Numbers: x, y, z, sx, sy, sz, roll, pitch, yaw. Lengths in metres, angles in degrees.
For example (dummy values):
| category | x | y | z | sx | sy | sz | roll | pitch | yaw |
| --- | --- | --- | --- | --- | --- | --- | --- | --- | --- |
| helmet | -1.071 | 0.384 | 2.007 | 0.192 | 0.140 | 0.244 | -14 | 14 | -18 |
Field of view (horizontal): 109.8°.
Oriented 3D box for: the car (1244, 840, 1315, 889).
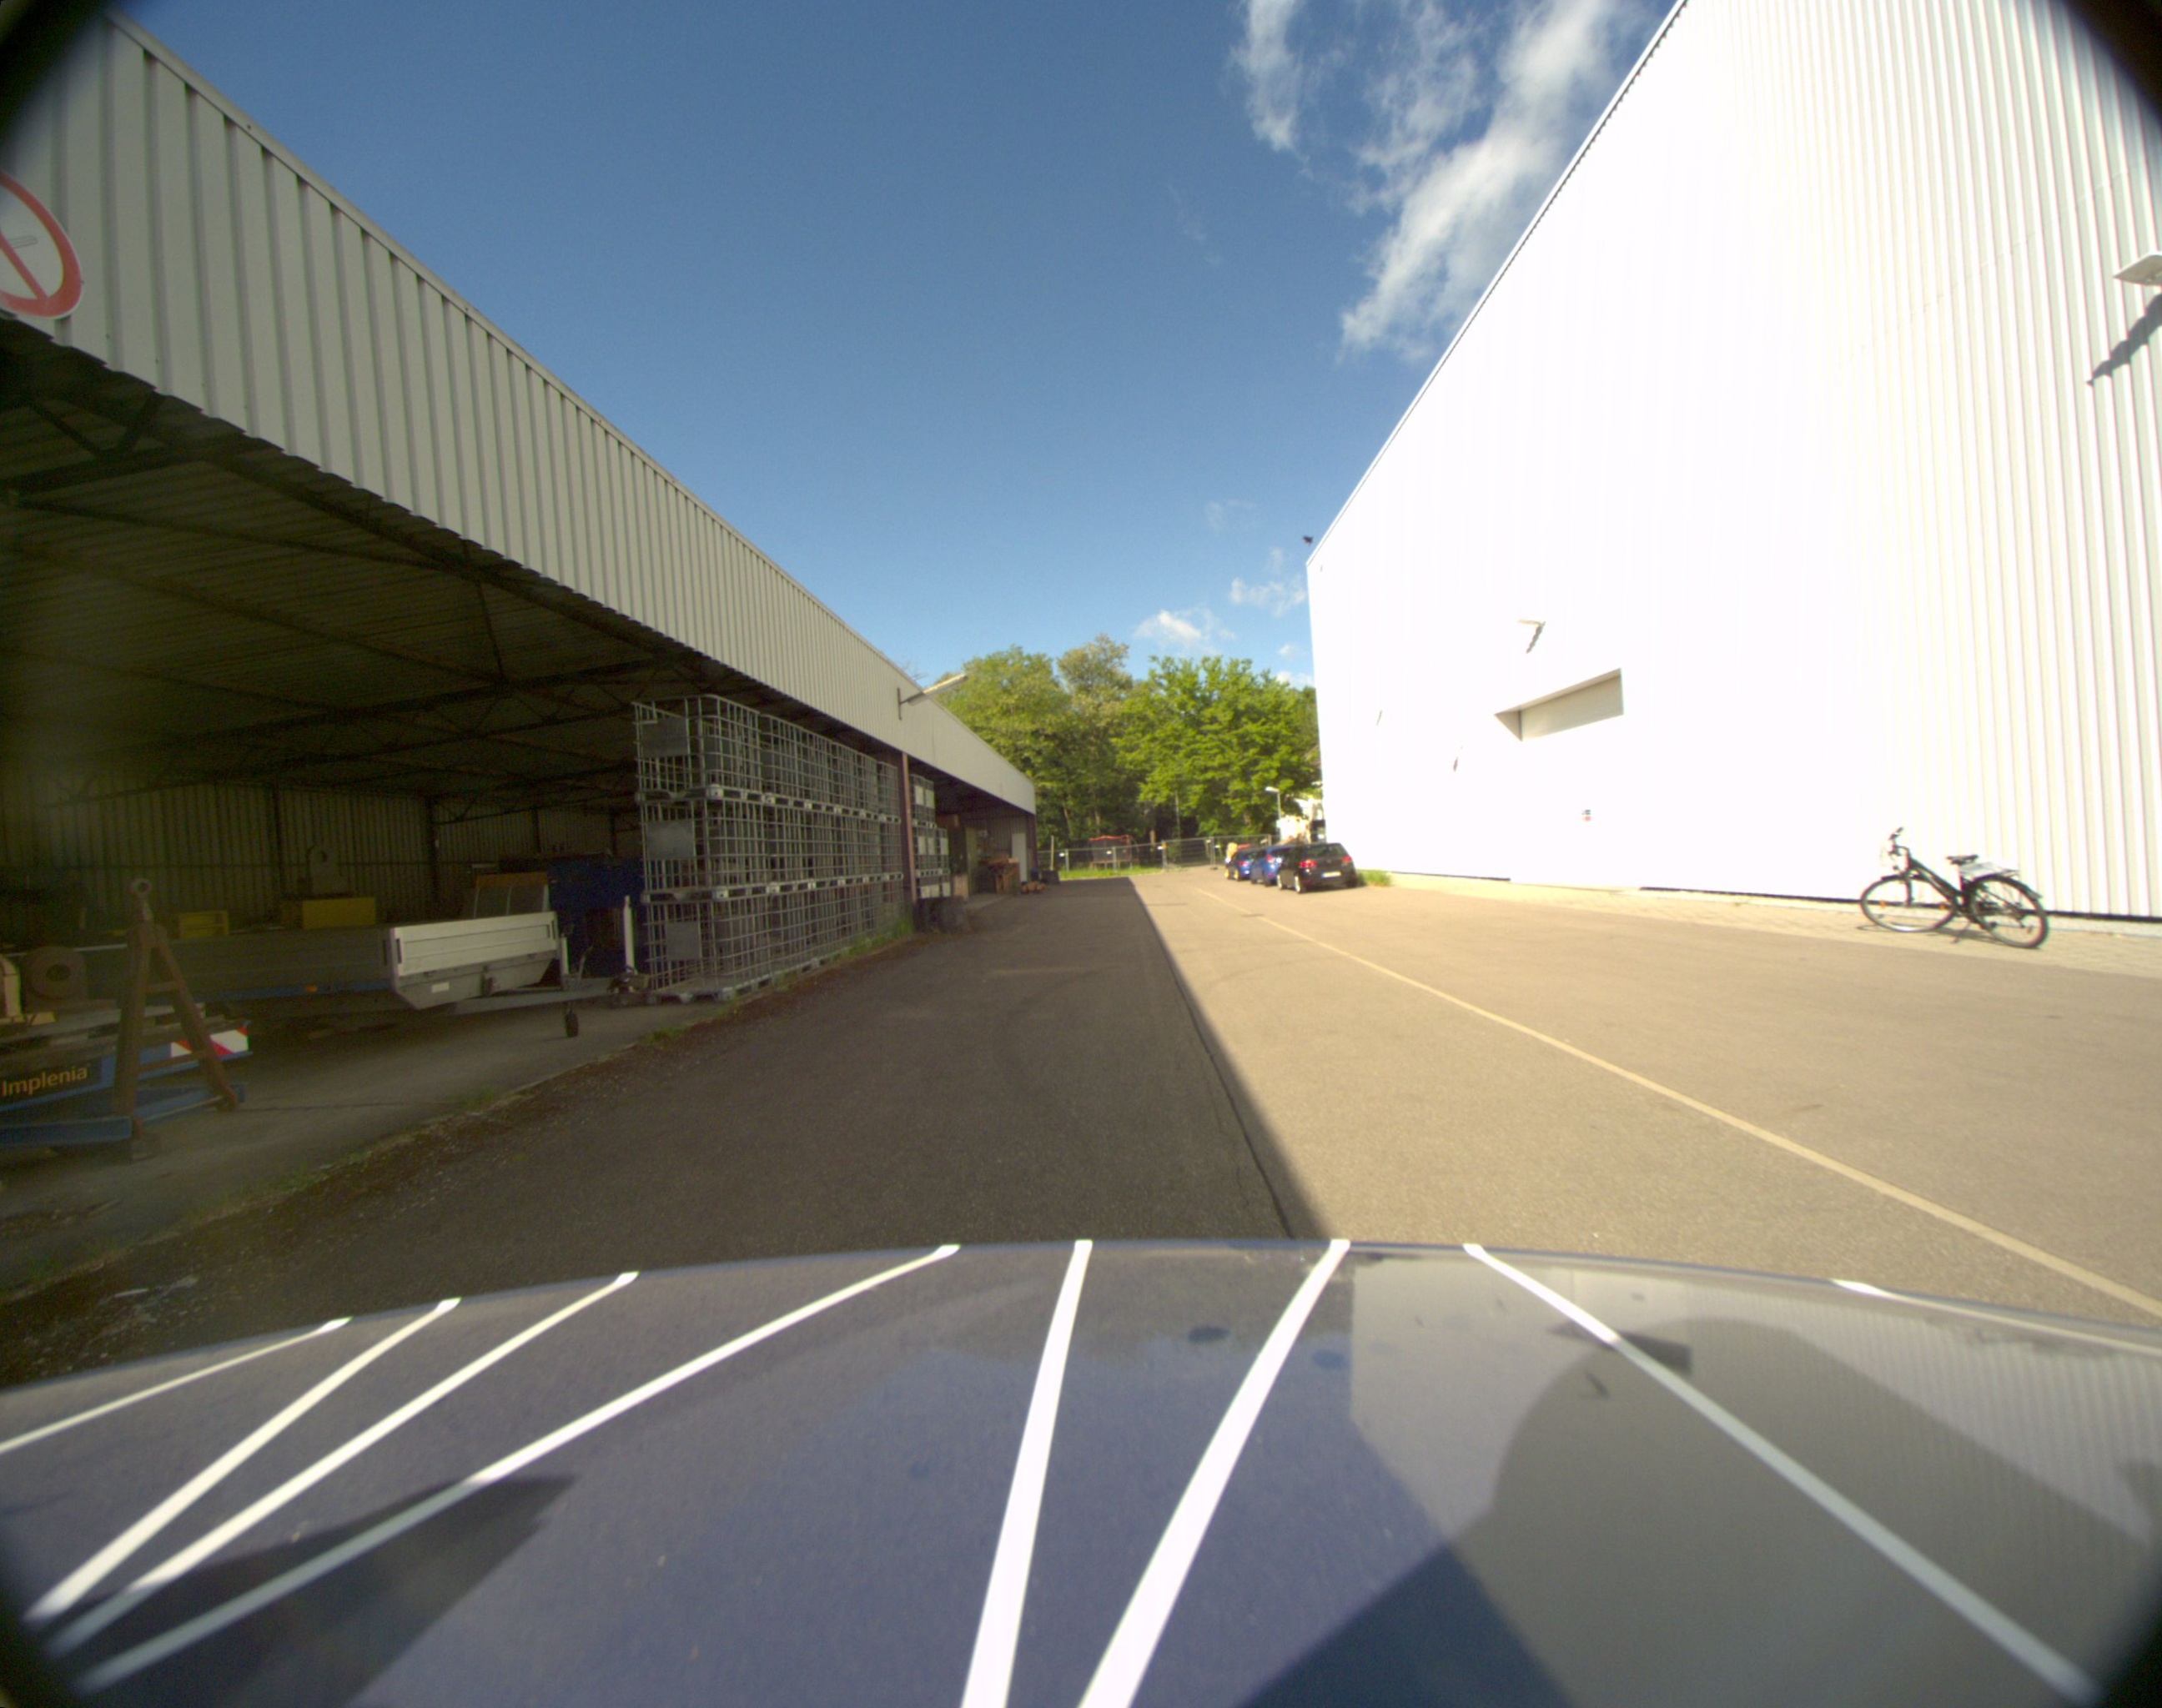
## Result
| category | x | y | z | sx | sy | sz | roll | pitch | yaw |
| --- | --- | --- | --- | --- | --- | --- | --- | --- | --- |
| car | 7.468 | 0.355 | 28.904 | 1.789 | 1.513 | 4.001 | -7 | 0 | 5 |

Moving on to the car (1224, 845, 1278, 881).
| category | x | y | z | sx | sy | sz | roll | pitch | yaw |
| --- | --- | --- | --- | --- | --- | --- | --- | --- | --- |
| car | 7.618 | 0.372 | 34.405 | 1.789 | 1.431 | 4.001 | -3 | 0 | 4 |

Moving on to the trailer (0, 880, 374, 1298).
| category | x | y | z | sx | sy | sz | roll | pitch | yaw |
| --- | --- | --- | --- | --- | --- | --- | --- | --- | --- |
| trailer | -6.802 | 1.097 | 3.652 | 4.879 | 1.619 | 2.029 | -3 | 0 | 2 |

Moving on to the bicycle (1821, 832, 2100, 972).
| category | x | y | z | sx | sy | sz | roll | pitch | yaw |
| --- | --- | --- | --- | --- | --- | --- | --- | --- | --- |
| bicycle | 8.670 | 0.414 | 7.655 | 0.909 | 1.136 | 1.901 | -7 | 0 | 18 |

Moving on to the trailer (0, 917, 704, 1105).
| category | x | y | z | sx | sy | sz | roll | pitch | yaw |
| --- | --- | --- | --- | --- | --- | --- | --- | --- | --- |
| trailer | -6.917 | 1.359 | 7.011 | 5.836 | 1.113 | 2.029 | -3 | 0 | 2 |

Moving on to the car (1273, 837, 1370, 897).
| category | x | y | z | sx | sy | sz | roll | pitch | yaw |
| --- | --- | --- | --- | --- | --- | --- | --- | --- | --- |
| car | 7.355 | 0.352 | 23.652 | 1.895 | 1.513 | 4.001 | -7 | 0 | 4 |
